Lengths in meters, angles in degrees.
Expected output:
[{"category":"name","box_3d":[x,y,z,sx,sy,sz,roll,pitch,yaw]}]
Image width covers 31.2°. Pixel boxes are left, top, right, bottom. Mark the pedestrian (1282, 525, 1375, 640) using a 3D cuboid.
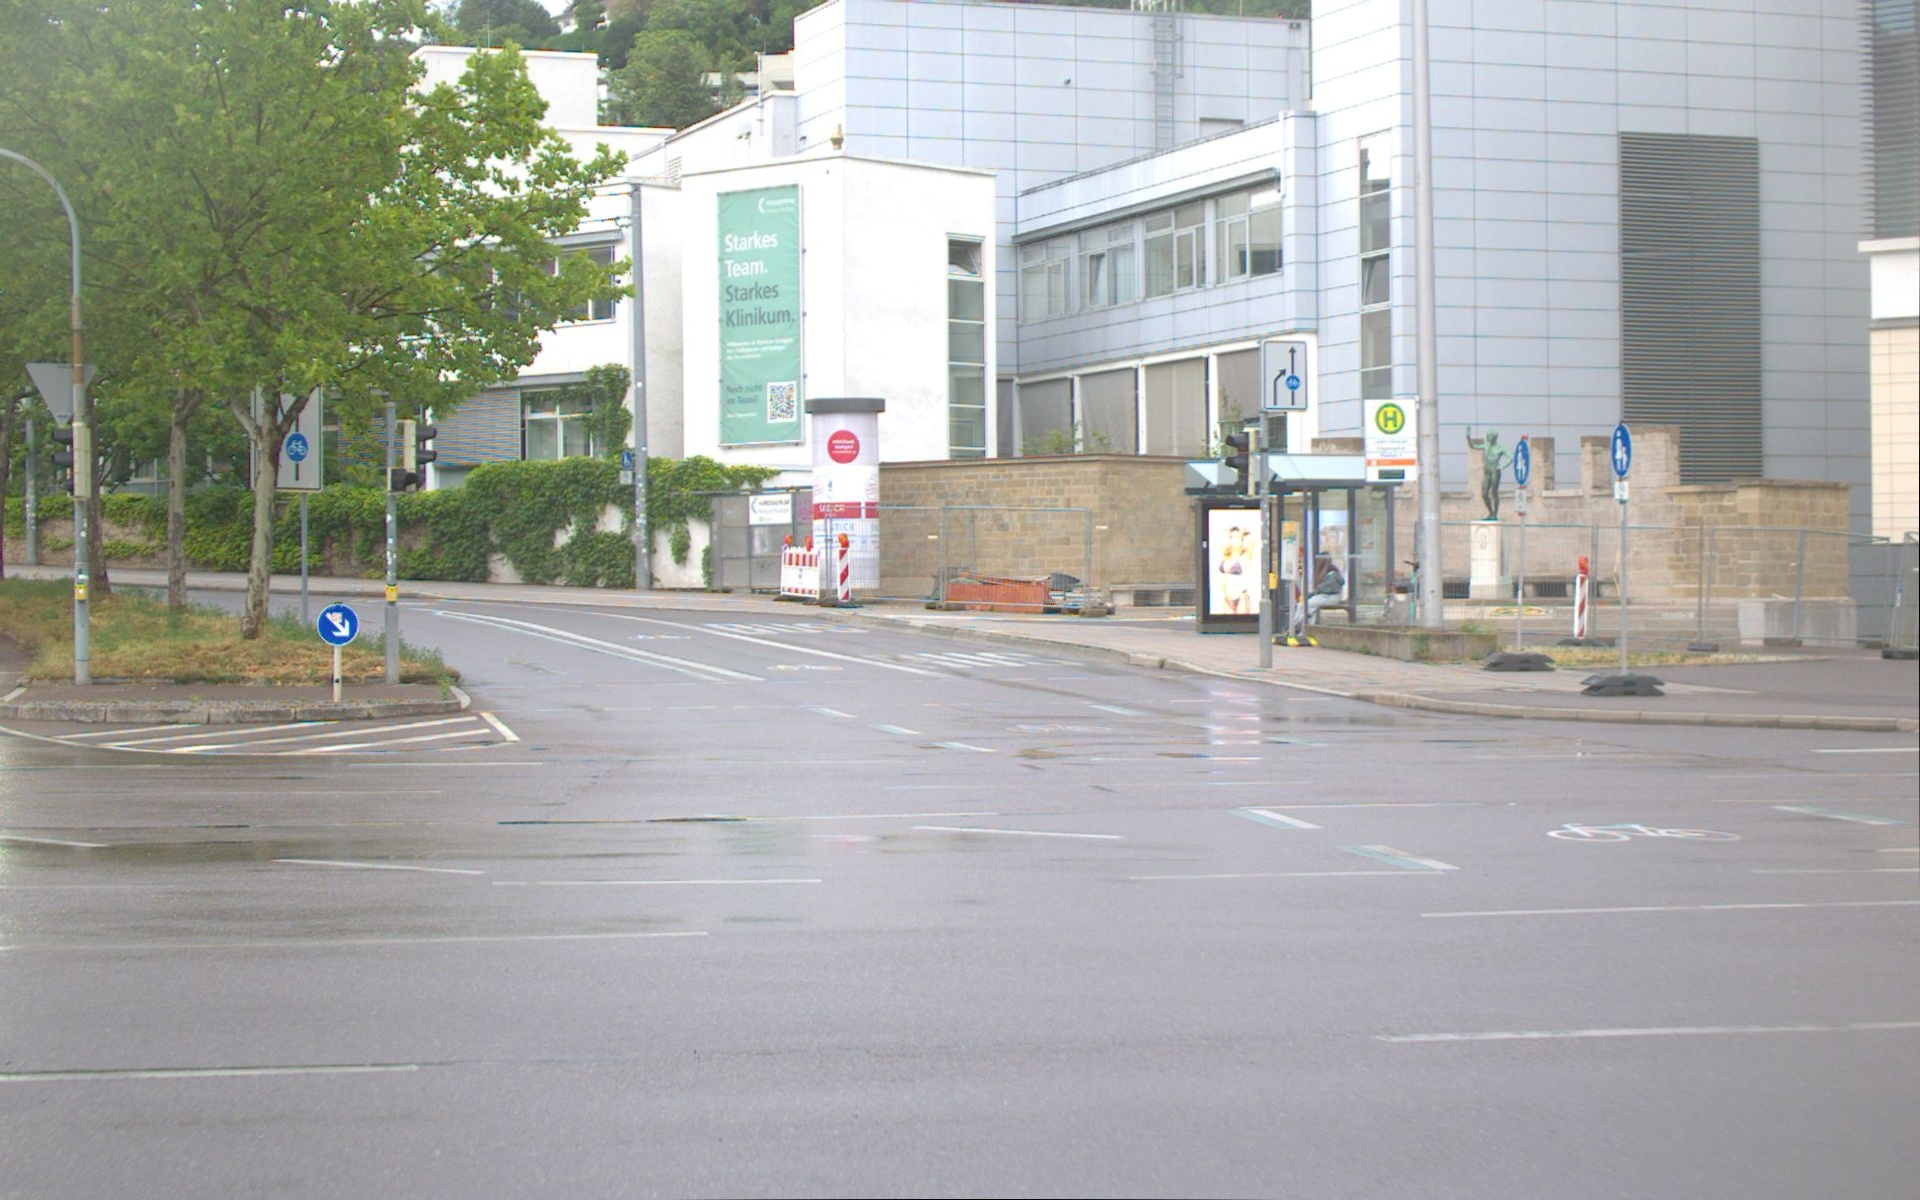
[{"category":"pedestrian","box_3d":[5.639,-0.256,52.669,1.257,1.713,1.016,1,-1,-1]}]
